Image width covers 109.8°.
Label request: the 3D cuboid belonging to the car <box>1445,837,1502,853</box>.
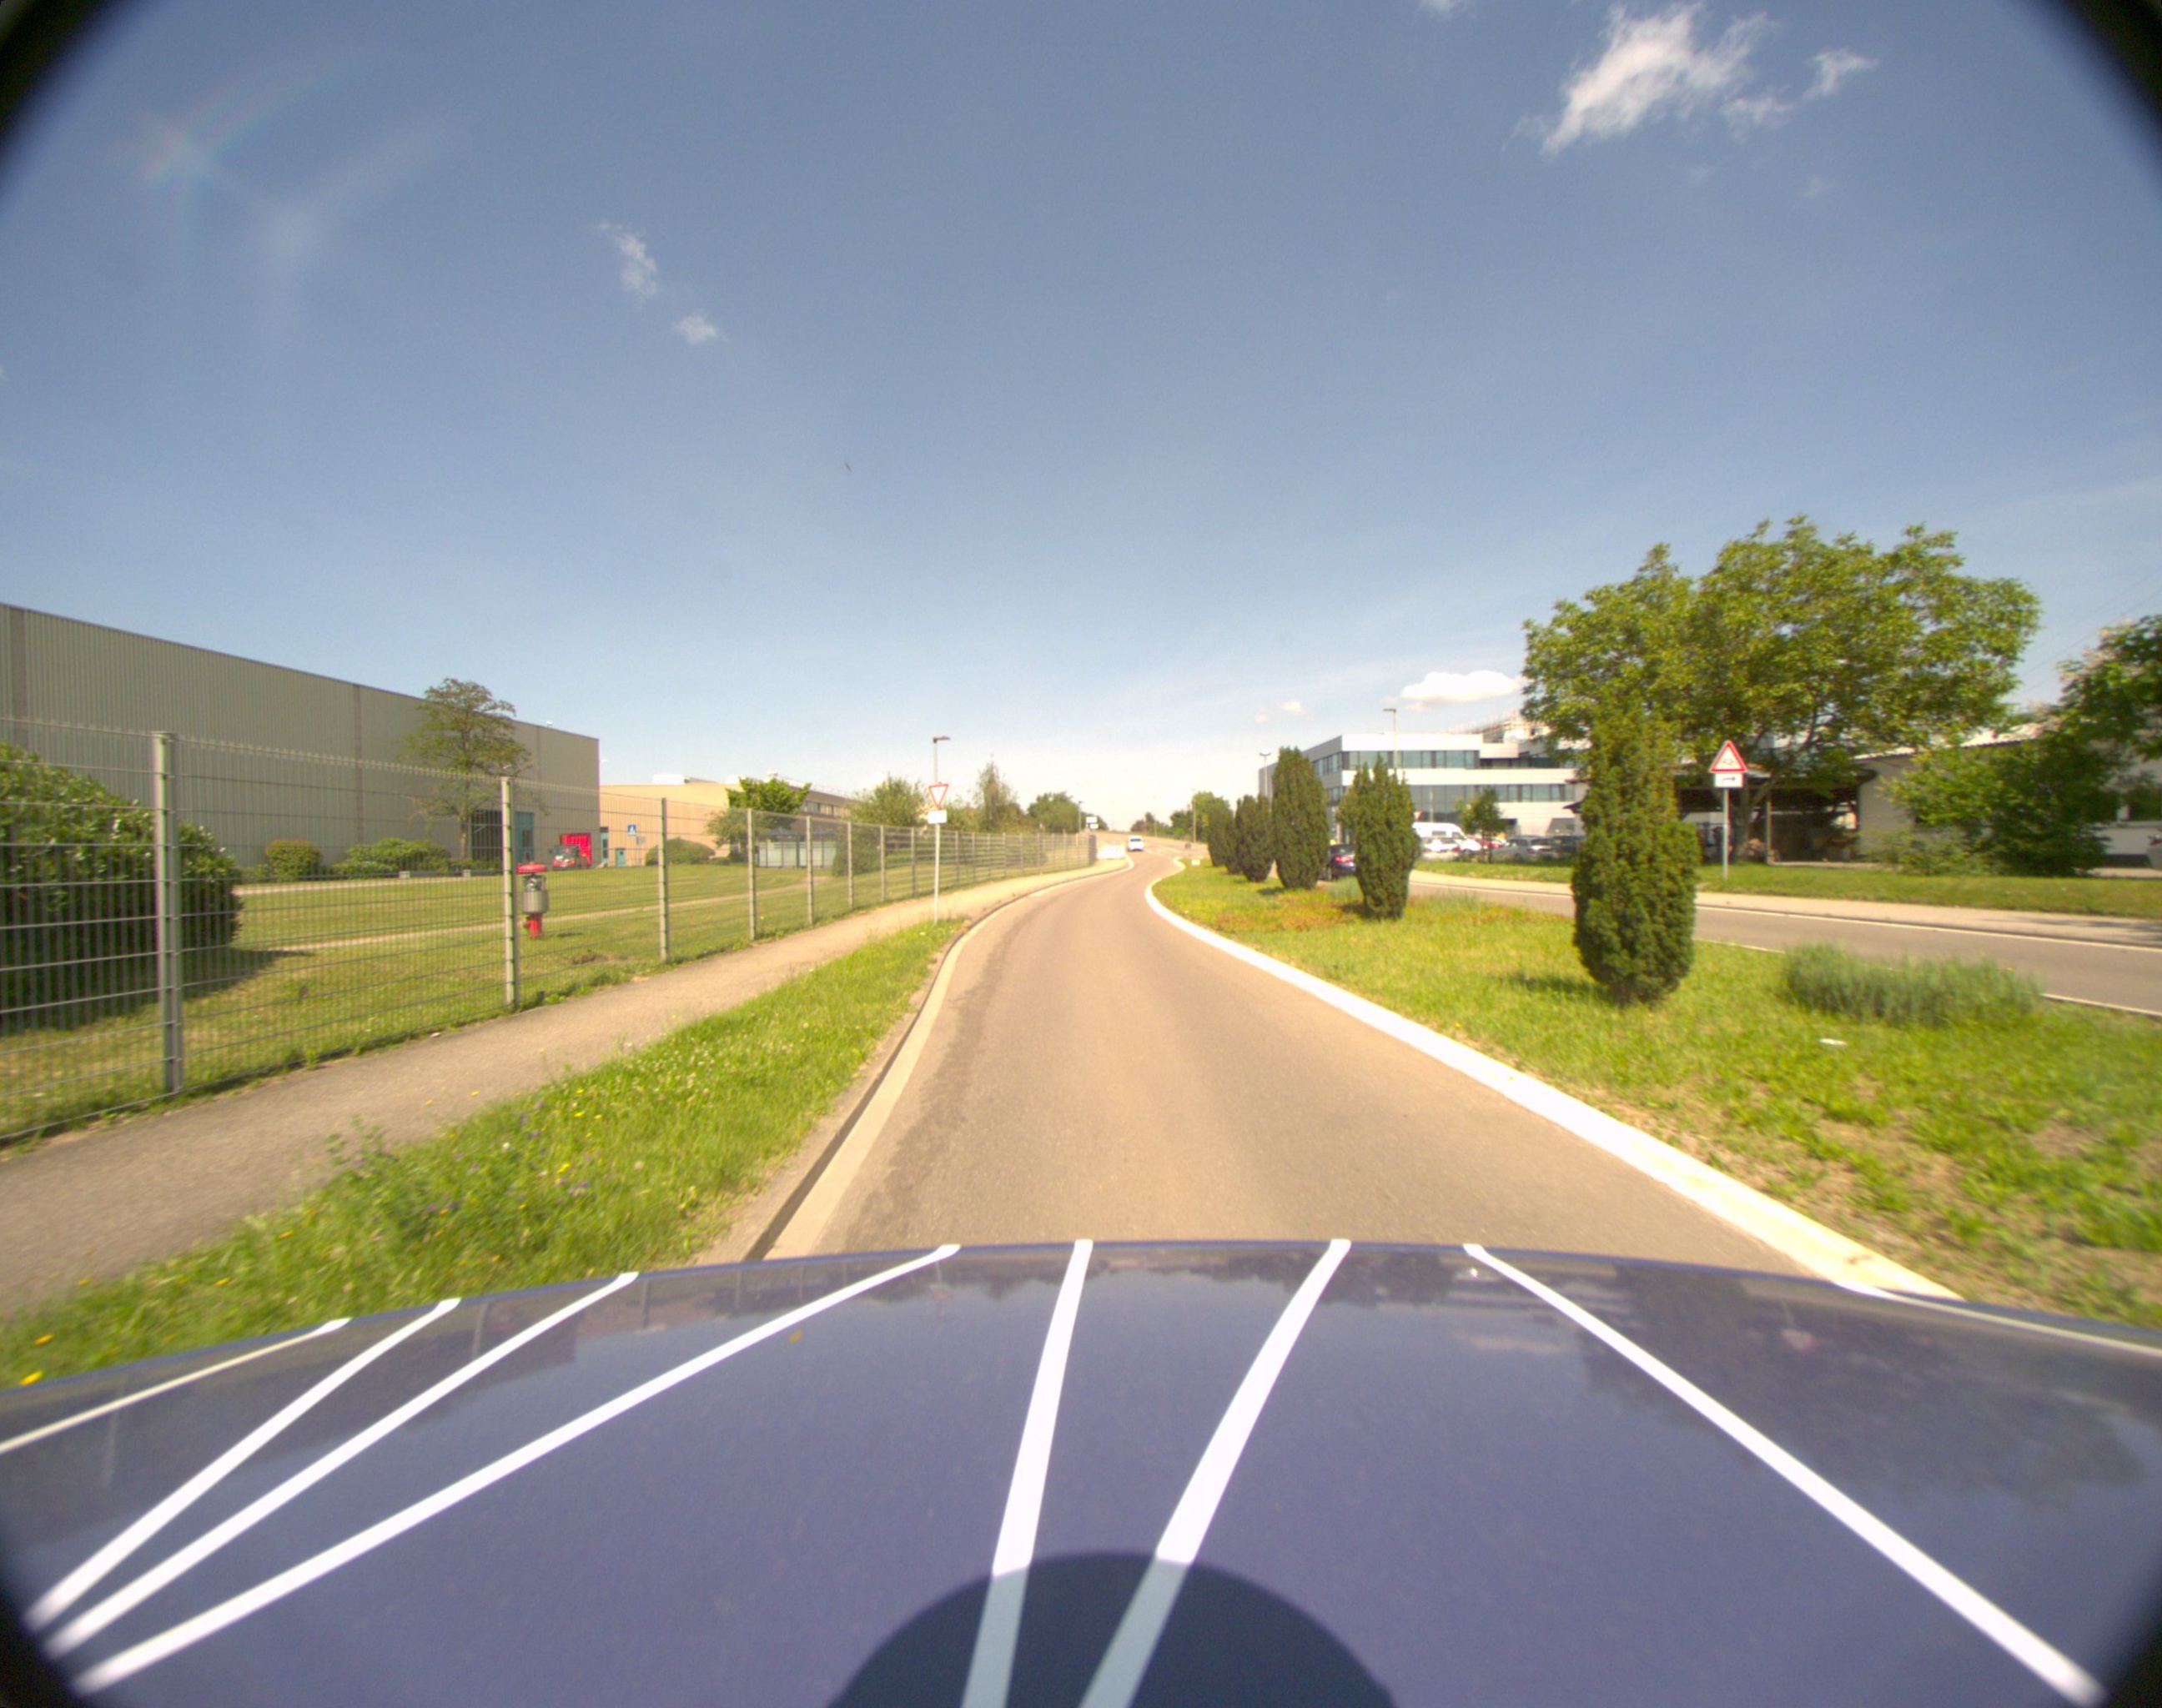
[{"bbox_3d":[32.800,-0.731,63.533,3.988,1.314,2.004,0,2,34],"label":"car"}]

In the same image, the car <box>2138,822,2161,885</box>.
[{"bbox_3d":[25.317,0.030,15.258,1.998,1.400,4.516,-2,2,4],"label":"car"}]

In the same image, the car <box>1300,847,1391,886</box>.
[{"bbox_3d":[10.361,0.433,30.160,1.904,1.386,4.864,-1,1,0],"label":"car"}]

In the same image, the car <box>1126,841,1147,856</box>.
[{"bbox_3d":[6.852,-0.707,94.194,1.999,1.904,3.998,-1,1,-4],"label":"car"}]

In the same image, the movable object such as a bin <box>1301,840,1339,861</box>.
[{"bbox_3d":[28.699,-0.431,91.404,2.172,2.396,5.455,-1,1,-9],"label":"movable object such as a bin"}]

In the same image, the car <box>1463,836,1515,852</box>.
[{"bbox_3d":[34.788,-0.854,64.786,3.732,1.314,1.904,0,2,34],"label":"car"}]

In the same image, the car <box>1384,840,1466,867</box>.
[{"bbox_3d":[20.392,-0.054,45.184,3.994,1.510,2.001,0,1,7],"label":"car"}]

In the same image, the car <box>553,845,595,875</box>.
[{"bbox_3d":[-32.892,0.343,49.412,1.904,1.805,3.990,-1,1,-29],"label":"car"}]

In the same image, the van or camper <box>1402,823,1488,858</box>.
[{"bbox_3d":[26.732,-0.966,55.817,5.573,2.483,2.082,0,2,28],"label":"van or camper"}]

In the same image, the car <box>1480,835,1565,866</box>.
[{"bbox_3d":[22.016,-0.198,38.056,1.998,1.434,3.999,-1,1,1],"label":"car"}]

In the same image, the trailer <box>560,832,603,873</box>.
[{"bbox_3d":[-35.292,-0.125,53.807,2.003,2.706,5.973,-1,1,-29],"label":"trailer"}]
